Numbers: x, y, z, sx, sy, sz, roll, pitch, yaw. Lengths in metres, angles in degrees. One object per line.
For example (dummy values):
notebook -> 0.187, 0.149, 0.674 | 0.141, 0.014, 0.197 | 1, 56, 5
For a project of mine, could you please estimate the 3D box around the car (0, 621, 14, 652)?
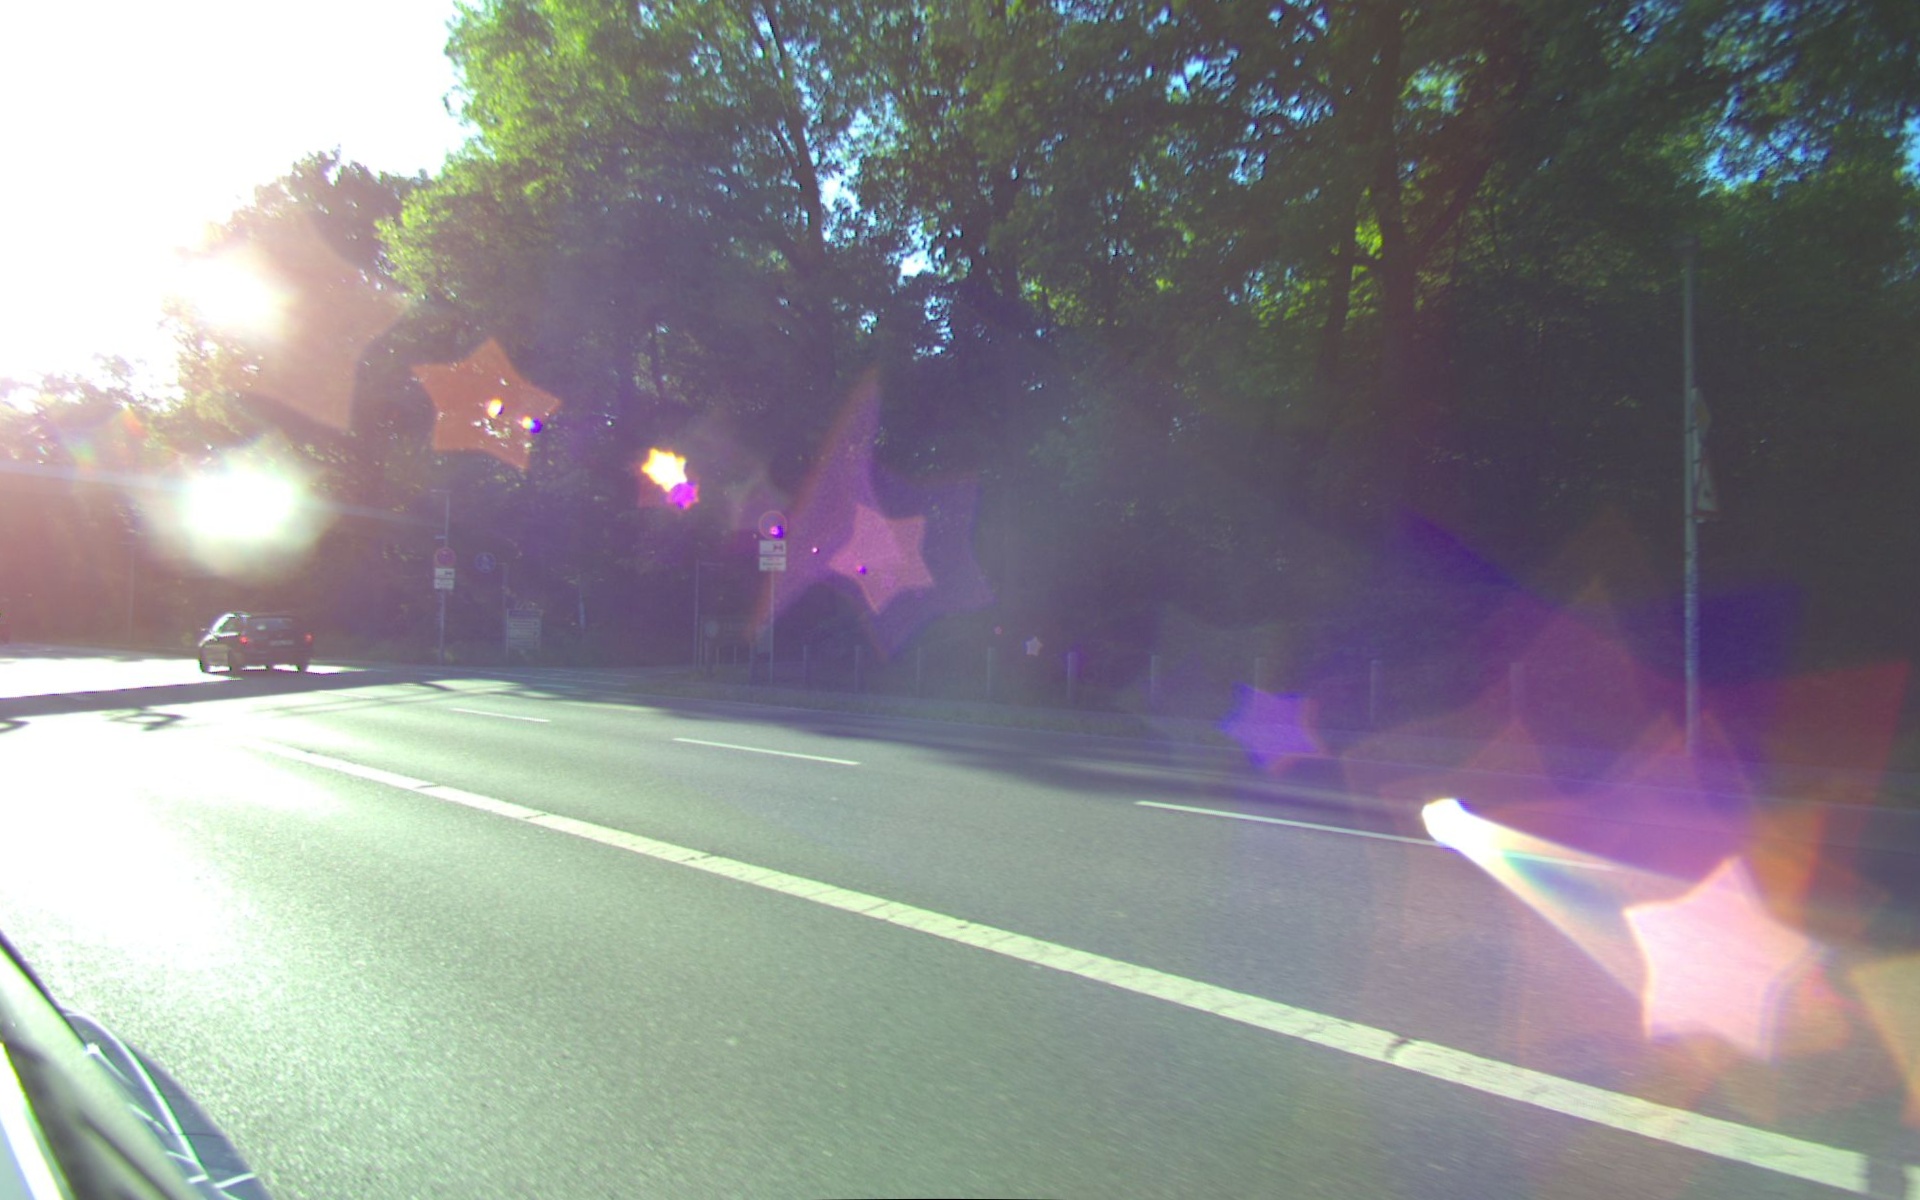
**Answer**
car -> -50.744, 1.886, 52.453 | 3.993, 1.560, 1.825 | -1, -1, 37

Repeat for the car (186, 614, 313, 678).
car -> -17.812, 1.100, 25.298 | 4.309, 1.477, 1.498 | -1, -1, 39
